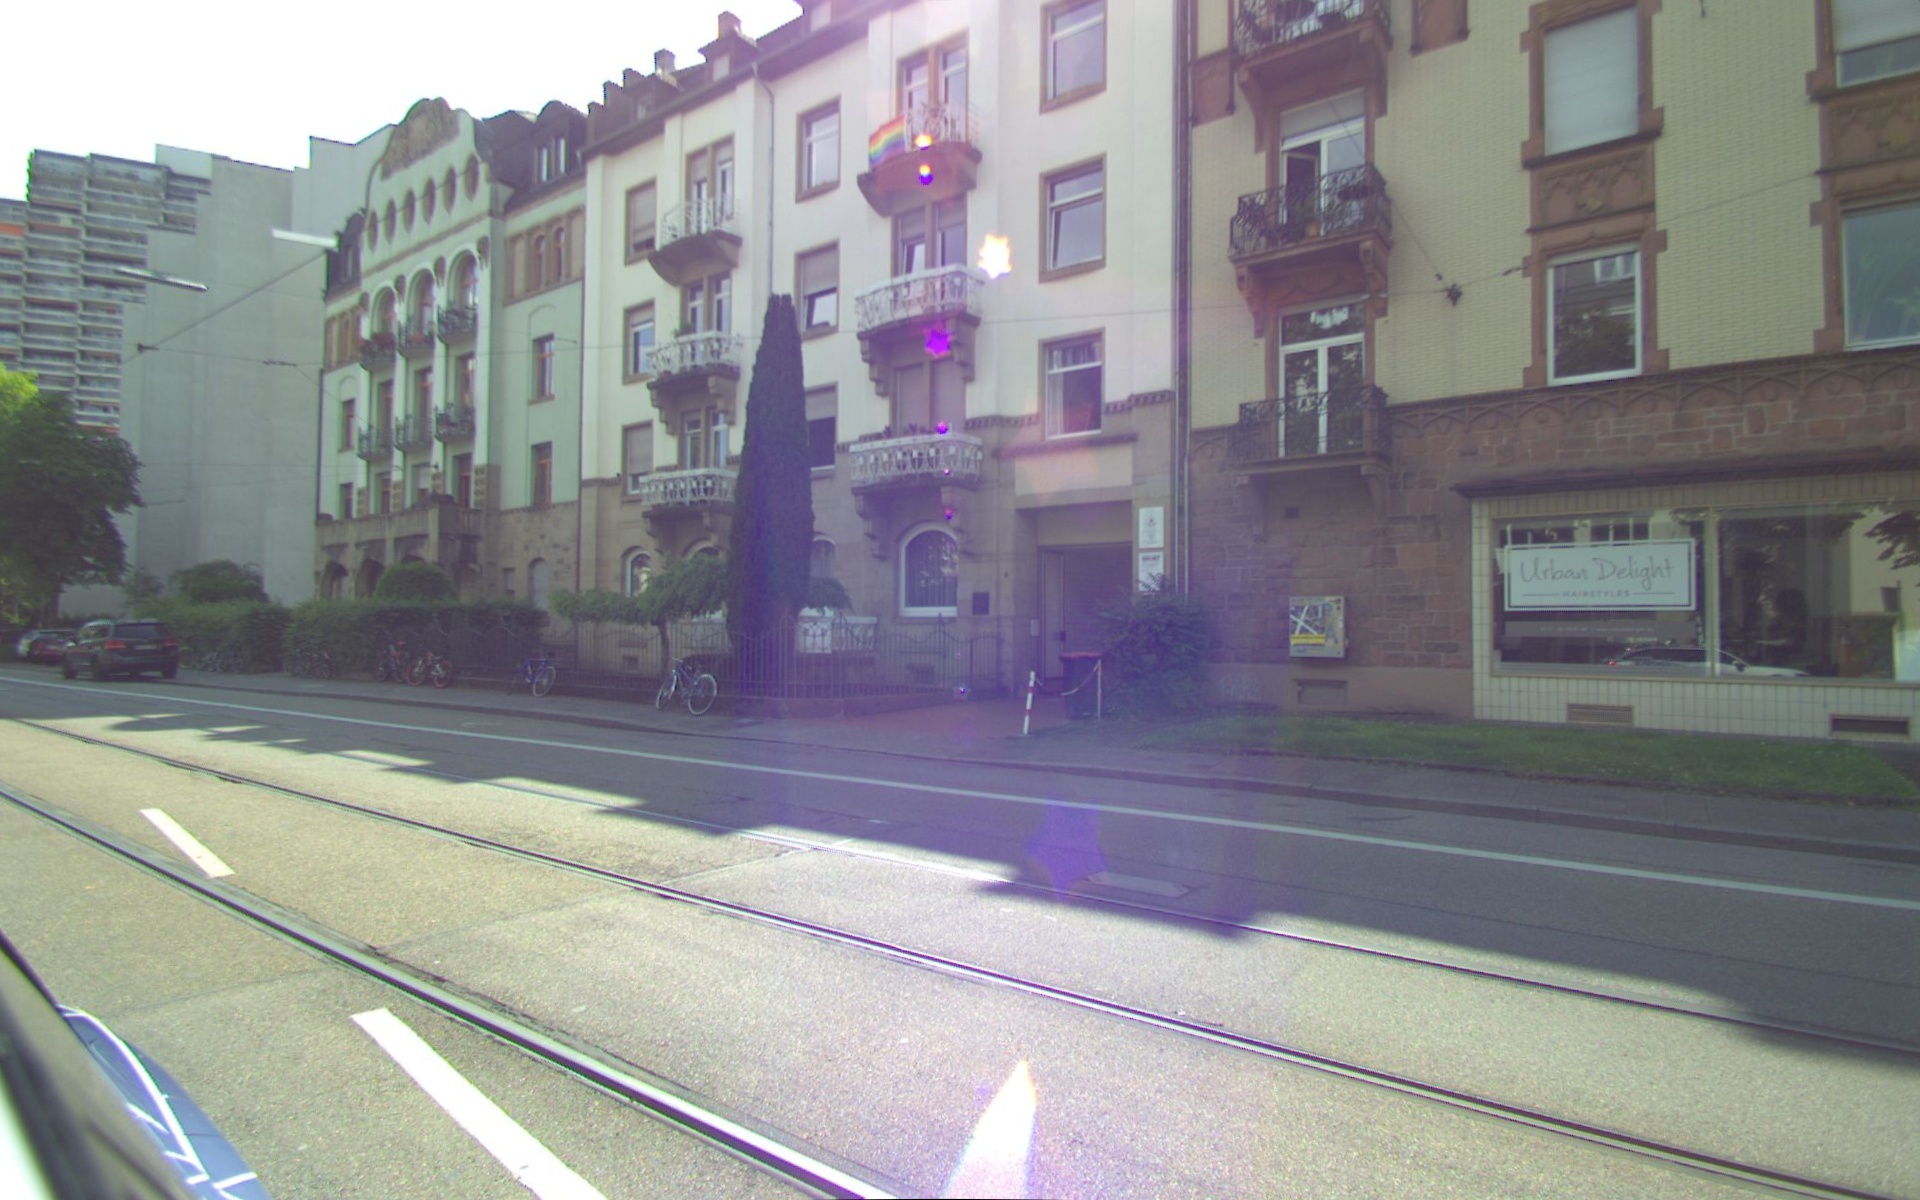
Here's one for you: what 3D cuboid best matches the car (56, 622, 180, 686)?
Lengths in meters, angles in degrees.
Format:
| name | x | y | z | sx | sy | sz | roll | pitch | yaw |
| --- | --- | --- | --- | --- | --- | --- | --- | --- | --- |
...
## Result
| name | x | y | z | sx | sy | sz | roll | pitch | yaw |
| --- | --- | --- | --- | --- | --- | --- | --- | --- | --- |
| car | -24.460 | 1.528 | 29.361 | 4.324 | 1.724 | 1.775 | -1 | -3 | 37 |

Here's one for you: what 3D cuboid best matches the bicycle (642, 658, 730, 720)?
| name | x | y | z | sx | sy | sz | roll | pitch | yaw |
| --- | --- | --- | --- | --- | --- | --- | --- | --- | --- |
| bicycle | -4.841 | 1.534 | 17.783 | 2.068 | 0.913 | 0.517 | 1 | -1 | 45 |

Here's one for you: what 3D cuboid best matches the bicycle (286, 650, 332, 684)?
| name | x | y | z | sx | sy | sz | roll | pitch | yaw |
| --- | --- | --- | --- | --- | --- | --- | --- | --- | --- |
| bicycle | -17.522 | 1.787 | 27.222 | 1.872 | 0.803 | 0.579 | 0 | 0 | 42 |

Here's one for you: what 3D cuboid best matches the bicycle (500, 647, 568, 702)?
| name | x | y | z | sx | sy | sz | roll | pitch | yaw |
| --- | --- | --- | --- | --- | --- | --- | --- | --- | --- |
| bicycle | -8.869 | 1.525 | 21.039 | 1.872 | 1.037 | 0.532 | 0 | -2 | 42 |

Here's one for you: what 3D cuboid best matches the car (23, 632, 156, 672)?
| name | x | y | z | sx | sy | sz | roll | pitch | yaw |
| --- | --- | --- | --- | --- | --- | --- | --- | --- | --- |
| car | -35.378 | 2.076 | 41.190 | 1.633 | 1.548 | 3.841 | -1 | -3 | 39 |

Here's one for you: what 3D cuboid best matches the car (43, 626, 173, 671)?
| name | x | y | z | sx | sy | sz | roll | pitch | yaw |
| --- | --- | --- | --- | --- | --- | --- | --- | --- | --- |
| car | -33.085 | 1.857 | 39.381 | 1.608 | 1.652 | 3.587 | -1 | -2 | 37 |

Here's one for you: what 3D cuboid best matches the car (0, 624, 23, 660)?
| name | x | y | z | sx | sy | sz | roll | pitch | yaw |
| --- | --- | --- | --- | --- | --- | --- | --- | --- | --- |
| car | -51.275 | 2.186 | 52.531 | 1.733 | 1.857 | 3.619 | -1 | -3 | 37 |

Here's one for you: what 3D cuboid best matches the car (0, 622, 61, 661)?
| name | x | y | z | sx | sy | sz | roll | pitch | yaw |
| --- | --- | --- | --- | --- | --- | --- | --- | --- | --- |
| car | -48.231 | 2.076 | 51.110 | 1.829 | 1.940 | 3.947 | -1 | -3 | 39 |

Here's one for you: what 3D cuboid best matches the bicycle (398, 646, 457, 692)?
| name | x | y | z | sx | sy | sz | roll | pitch | yaw |
| --- | --- | --- | --- | --- | --- | --- | --- | --- | --- |
| bicycle | -12.485 | 1.593 | 23.704 | 1.872 | 0.993 | 0.579 | 0 | -2 | 42 |
